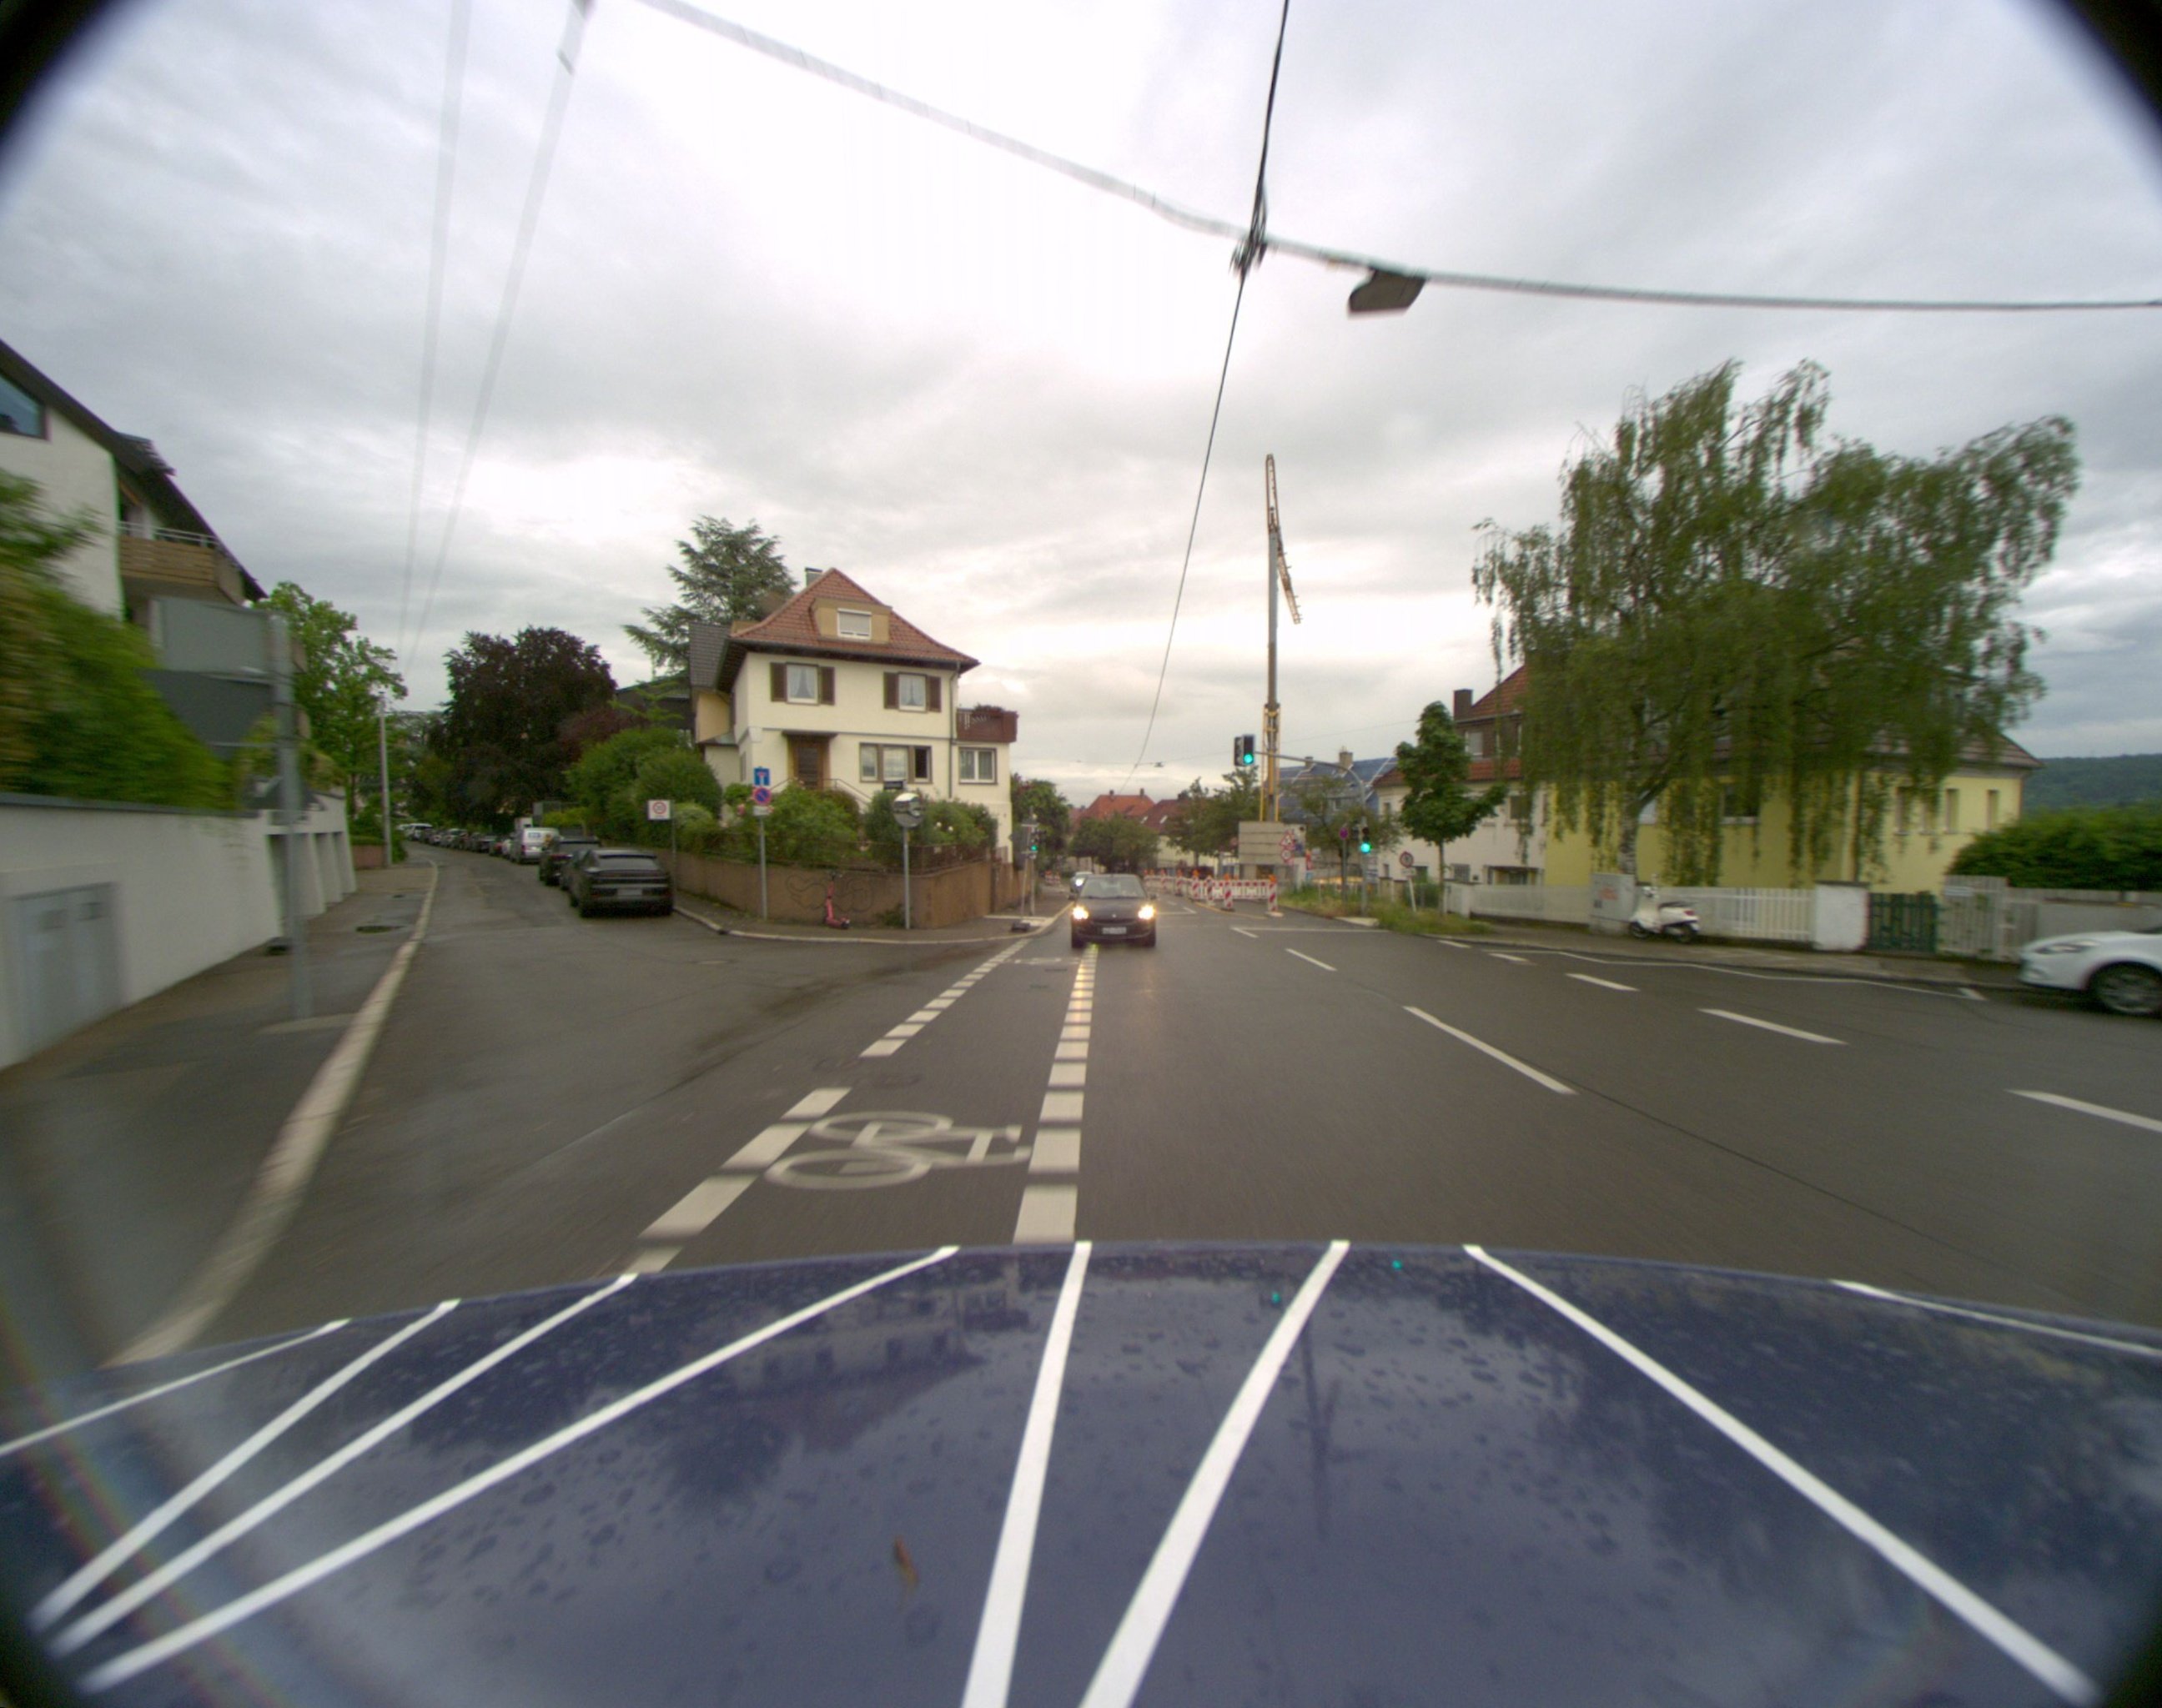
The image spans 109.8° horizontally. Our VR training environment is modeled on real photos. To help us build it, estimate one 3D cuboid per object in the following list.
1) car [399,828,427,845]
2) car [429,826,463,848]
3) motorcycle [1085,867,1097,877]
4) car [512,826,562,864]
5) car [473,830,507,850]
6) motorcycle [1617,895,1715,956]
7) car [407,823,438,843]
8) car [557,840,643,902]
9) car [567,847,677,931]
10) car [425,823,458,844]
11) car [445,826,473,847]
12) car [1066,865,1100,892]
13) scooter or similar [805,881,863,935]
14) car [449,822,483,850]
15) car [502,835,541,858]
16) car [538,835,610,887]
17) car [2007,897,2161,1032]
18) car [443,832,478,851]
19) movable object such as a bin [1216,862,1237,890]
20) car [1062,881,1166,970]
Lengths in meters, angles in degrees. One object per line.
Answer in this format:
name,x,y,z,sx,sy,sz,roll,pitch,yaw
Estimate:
car,-70.973,-1.842,80.671,3.722,1.667,1.747,0,7,44
car,-58.320,-1.564,69.760,2.003,1.718,3.989,-8,4,-43
motorcycle,1.334,2.427,102.881,0.735,1.241,1.965,-4,0,-30
car,-29.040,-0.521,40.490,1.879,1.831,4.356,0,3,-39
car,-42.349,-1.025,54.433,1.712,1.255,3.772,-2,4,-40
motorcycle,12.060,1.441,15.731,0.592,1.124,1.843,1,-1,0
car,-66.944,-2.135,77.196,2.003,1.718,3.989,-8,4,-43
car,-15.365,0.443,24.173,1.879,1.634,4.357,-3,4,-37
car,-12.015,0.788,19.756,2.004,1.674,4.356,-1,4,-37
car,-61.622,-1.932,73.170,2.003,1.718,3.989,-8,4,-43
car,-54.315,-1.482,66.331,1.748,1.674,3.988,2,-1,-42
car,0.137,1.954,61.363,2.019,1.728,4.594,-5,2,-7
scooter or similar,-5.628,1.197,17.270,0.654,1.051,1.554,2,3,-41
car,-50.417,-1.463,62.350,1.722,2.003,3.990,-7,4,-34
car,-33.121,-0.461,44.921,1.583,1.254,3.773,-1,2,-40
car,-18.813,0.181,28.129,1.878,1.658,4.357,-4,4,-37
car,13.954,1.397,8.811,1.693,1.500,3.999,2,0,-40
car,-47.418,-0.949,58.029,1.746,1.277,3.988,-7,5,-42
movable object such as a bin,13.191,1.993,69.047,1.318,2.490,1.384,1,-1,-22
car,0.691,1.328,15.403,1.746,1.433,4.361,-2,-1,3
